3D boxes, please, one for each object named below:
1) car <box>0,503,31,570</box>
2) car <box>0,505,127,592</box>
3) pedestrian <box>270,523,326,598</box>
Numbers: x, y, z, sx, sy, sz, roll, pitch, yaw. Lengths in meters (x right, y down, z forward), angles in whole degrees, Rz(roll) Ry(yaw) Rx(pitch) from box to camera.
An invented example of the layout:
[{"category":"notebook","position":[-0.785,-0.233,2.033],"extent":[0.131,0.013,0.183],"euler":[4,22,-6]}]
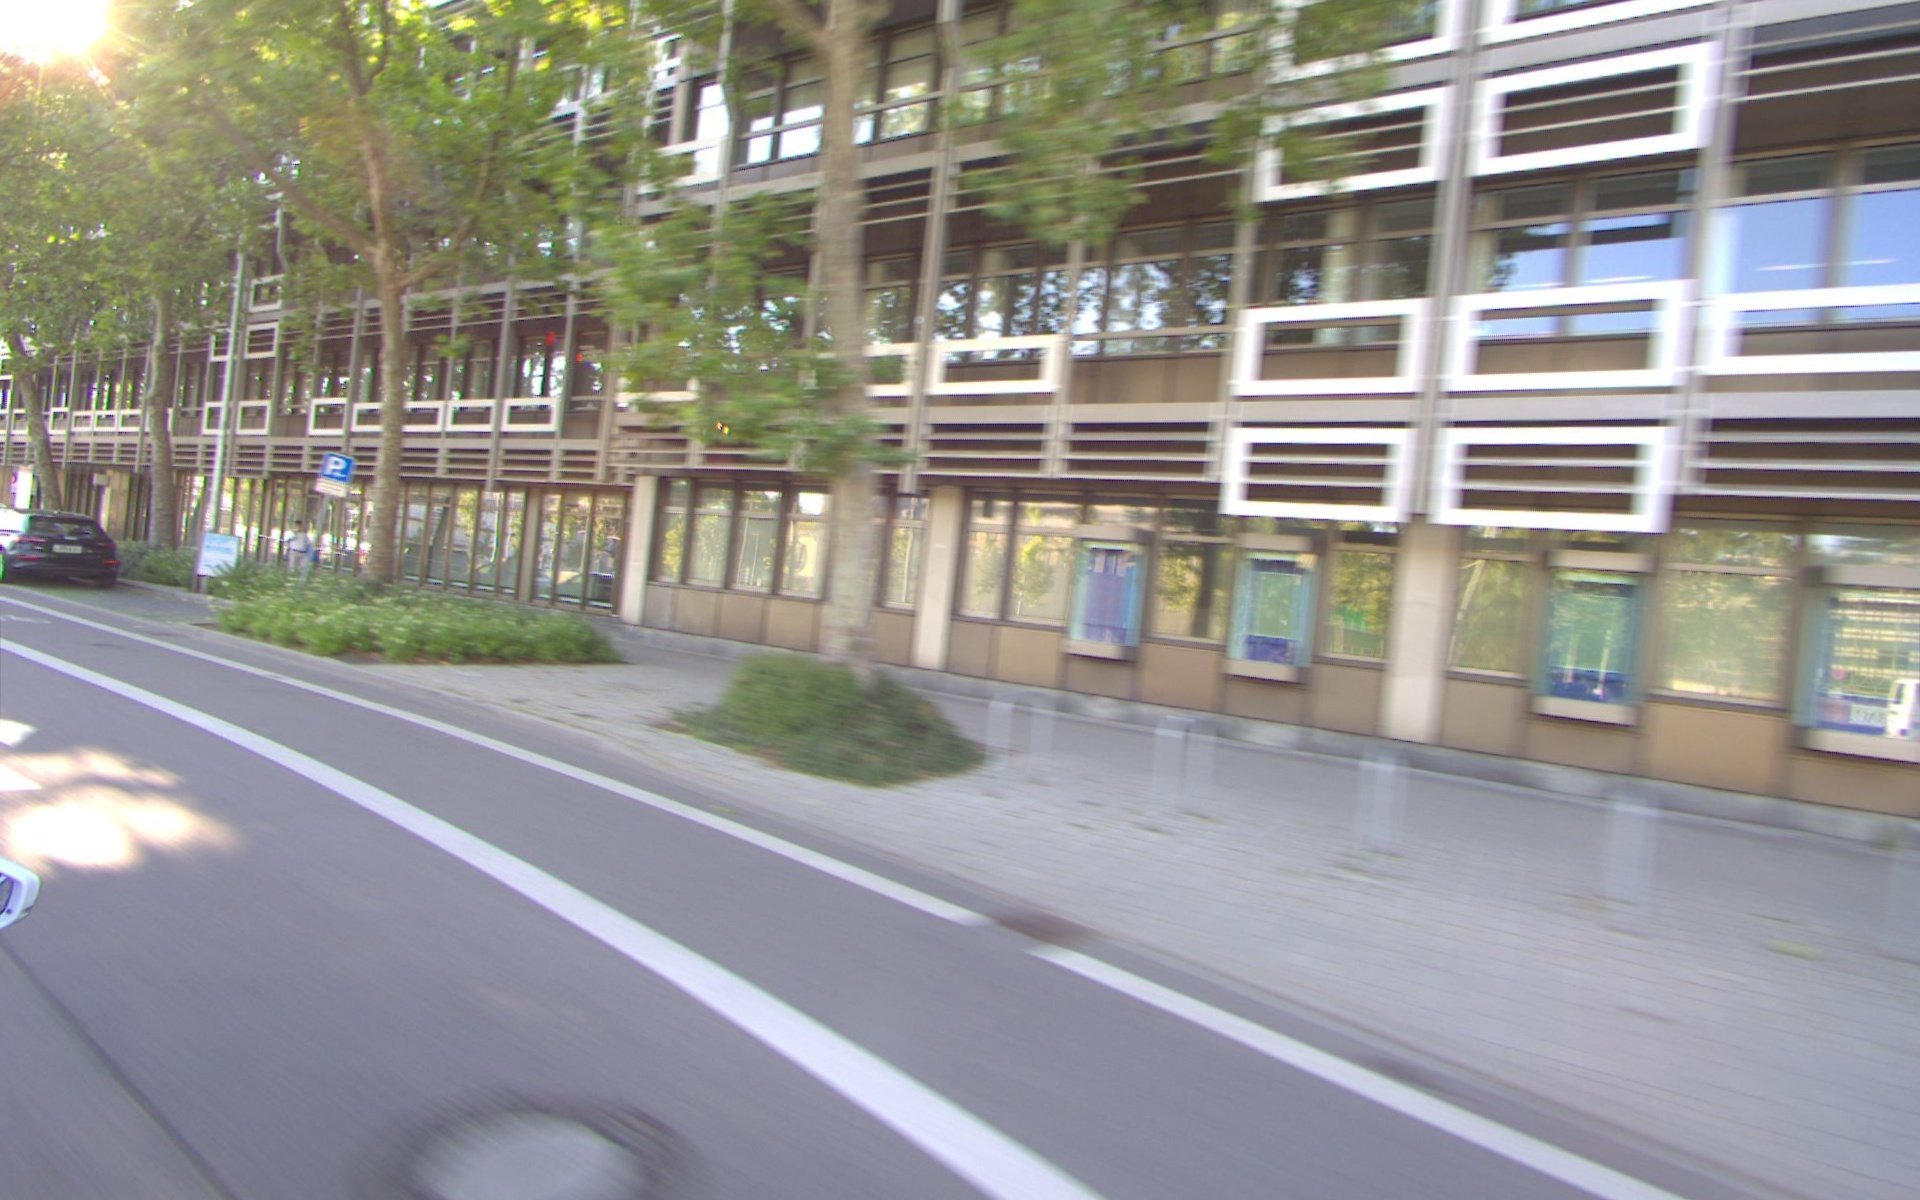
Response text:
[{"category":"car","position":[-23.722,-1.642,23.769],"extent":[3.811,1.498,1.682],"euler":[6,2,33]},{"category":"car","position":[-18.711,-1.109,20.295],"extent":[4.207,1.437,1.706],"euler":[6,2,33]},{"category":"pedestrian","position":[-17.821,-1.062,27.084],"extent":[0.833,1.879,0.832],"euler":[6,0,32]}]
